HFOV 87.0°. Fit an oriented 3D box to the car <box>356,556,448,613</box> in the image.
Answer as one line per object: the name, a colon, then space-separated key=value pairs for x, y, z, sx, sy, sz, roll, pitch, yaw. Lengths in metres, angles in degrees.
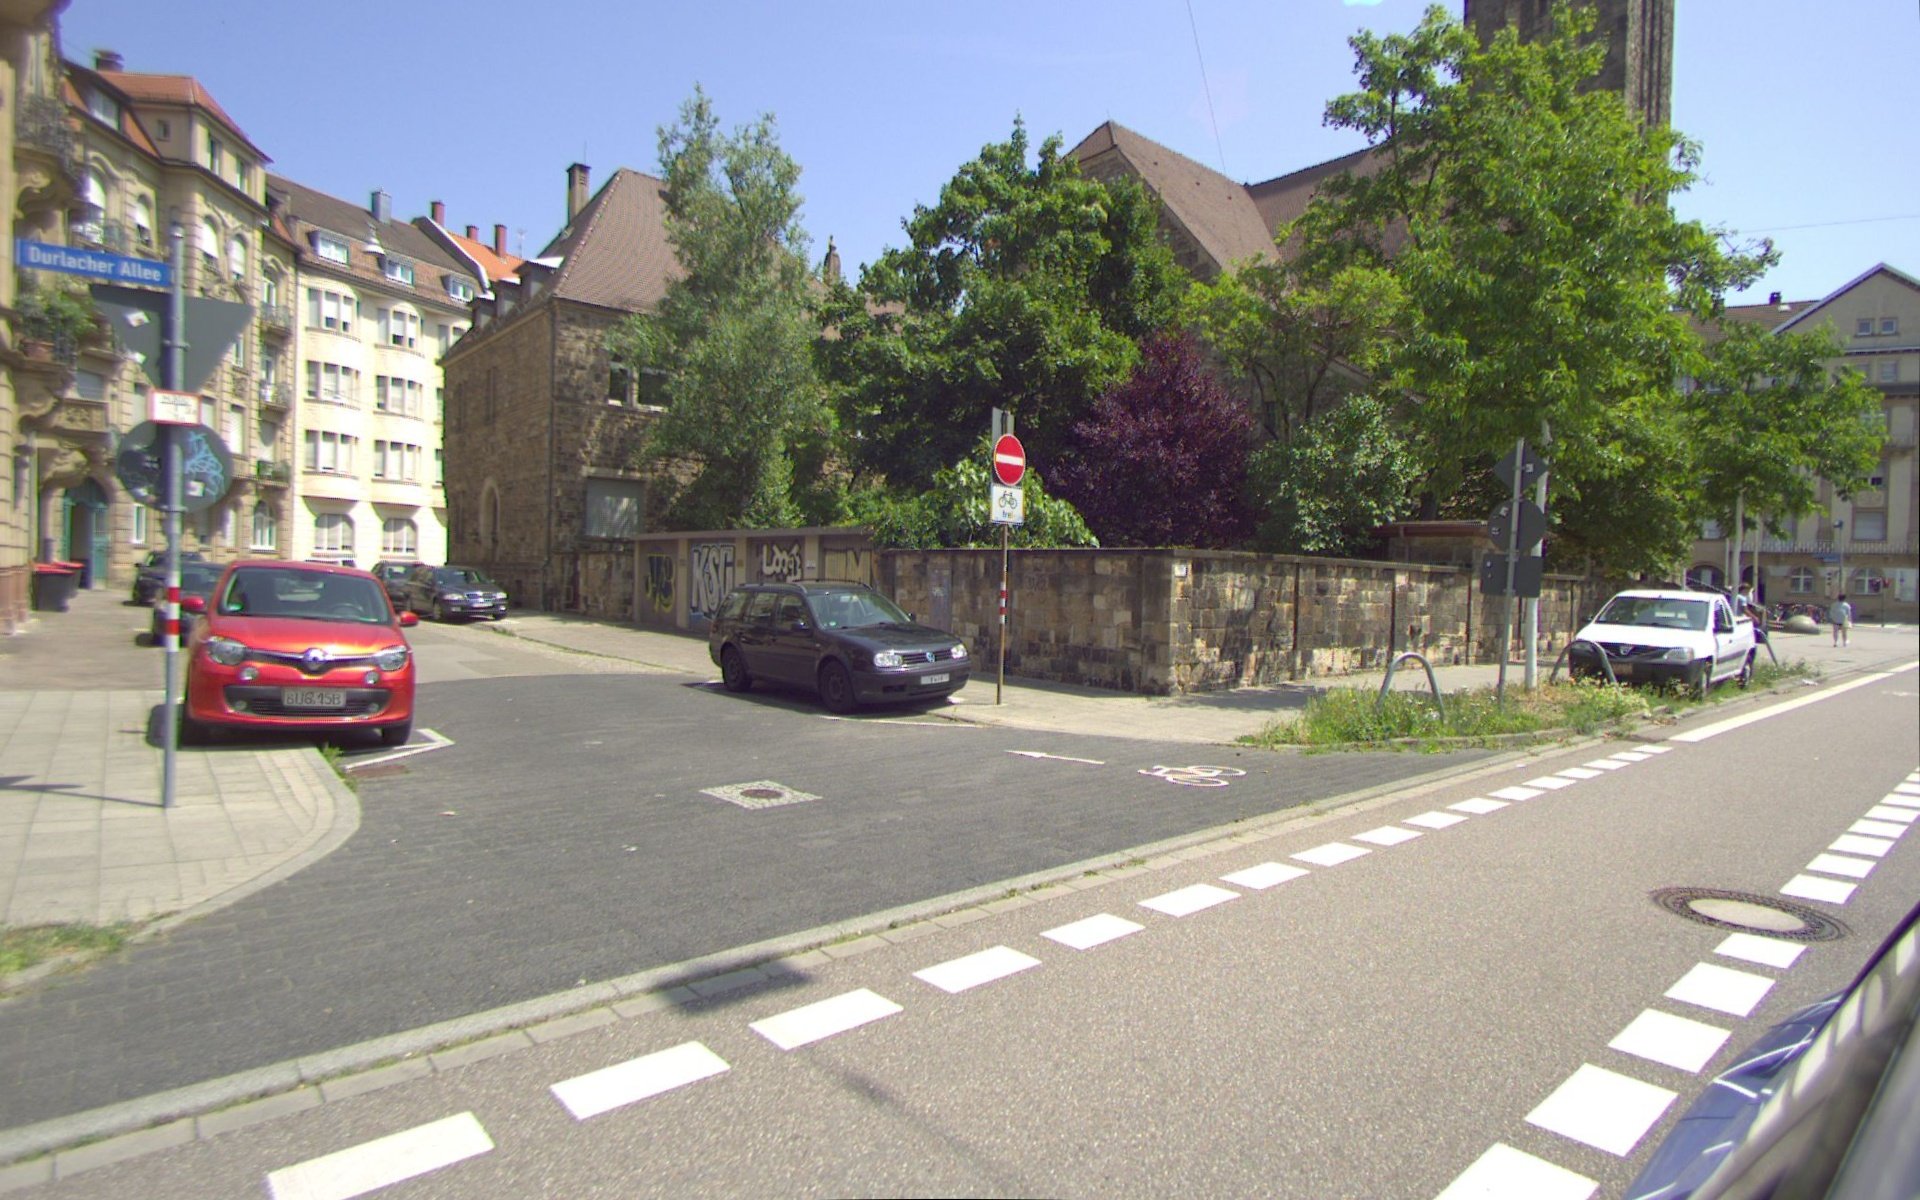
car: x=-17.291 y=-0.531 z=31.315 sx=1.751 sy=1.575 sz=3.649 roll=-4 pitch=4 yaw=-40

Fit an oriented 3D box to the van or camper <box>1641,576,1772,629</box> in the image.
van or camper: x=30.578 y=0.062 z=41.541 sx=1.771 sy=1.848 sz=3.995 roll=4 pitch=1 yaw=-41

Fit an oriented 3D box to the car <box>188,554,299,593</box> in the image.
car: x=-29.738 y=-1.092 z=42.162 sx=1.959 sy=1.490 sz=4.334 roll=1 pitch=1 yaw=-7

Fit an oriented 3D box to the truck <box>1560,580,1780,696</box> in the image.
truck: x=11.174 y=0.500 z=15.813 sx=4.387 sy=1.545 sz=1.793 roll=0 pitch=2 yaw=-41

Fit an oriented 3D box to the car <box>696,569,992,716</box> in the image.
car: x=-1.643 y=0.410 z=13.022 sx=1.645 sy=1.509 sz=4.187 roll=0 pitch=2 yaw=-42

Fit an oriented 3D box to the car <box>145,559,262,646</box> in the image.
car: x=-13.816 y=-0.023 z=18.400 sx=1.517 sy=1.404 sz=3.996 roll=0 pitch=2 yaw=-39

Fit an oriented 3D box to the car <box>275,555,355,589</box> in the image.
car: x=-30.125 y=-1.297 z=47.390 sx=1.587 sy=1.497 sz=4.006 roll=1 pitch=1 yaw=-7

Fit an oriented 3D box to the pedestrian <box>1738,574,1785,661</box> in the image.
pedestrian: x=16.755 y=0.360 z=21.146 sx=0.666 sy=1.777 sz=0.622 roll=1 pitch=0 yaw=-39

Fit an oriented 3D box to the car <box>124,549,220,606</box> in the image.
car: x=-24.267 y=-0.708 z=31.125 sx=1.967 sy=1.626 sz=3.933 roll=0 pitch=2 yaw=-43

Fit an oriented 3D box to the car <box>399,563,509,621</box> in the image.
car: x=-13.903 y=-0.269 z=27.722 sx=1.751 sy=1.390 sz=3.995 roll=-4 pitch=4 yaw=-40

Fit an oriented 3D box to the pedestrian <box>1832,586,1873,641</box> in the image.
pedestrian: x=27.692 y=0.400 z=31.398 sx=0.949 sy=1.671 sz=0.796 roll=1 pitch=0 yaw=-39

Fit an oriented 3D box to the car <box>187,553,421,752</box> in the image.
car: x=-6.268 y=0.345 z=9.508 sx=1.526 sy=1.510 sz=3.461 roll=0 pitch=2 yaw=-38
